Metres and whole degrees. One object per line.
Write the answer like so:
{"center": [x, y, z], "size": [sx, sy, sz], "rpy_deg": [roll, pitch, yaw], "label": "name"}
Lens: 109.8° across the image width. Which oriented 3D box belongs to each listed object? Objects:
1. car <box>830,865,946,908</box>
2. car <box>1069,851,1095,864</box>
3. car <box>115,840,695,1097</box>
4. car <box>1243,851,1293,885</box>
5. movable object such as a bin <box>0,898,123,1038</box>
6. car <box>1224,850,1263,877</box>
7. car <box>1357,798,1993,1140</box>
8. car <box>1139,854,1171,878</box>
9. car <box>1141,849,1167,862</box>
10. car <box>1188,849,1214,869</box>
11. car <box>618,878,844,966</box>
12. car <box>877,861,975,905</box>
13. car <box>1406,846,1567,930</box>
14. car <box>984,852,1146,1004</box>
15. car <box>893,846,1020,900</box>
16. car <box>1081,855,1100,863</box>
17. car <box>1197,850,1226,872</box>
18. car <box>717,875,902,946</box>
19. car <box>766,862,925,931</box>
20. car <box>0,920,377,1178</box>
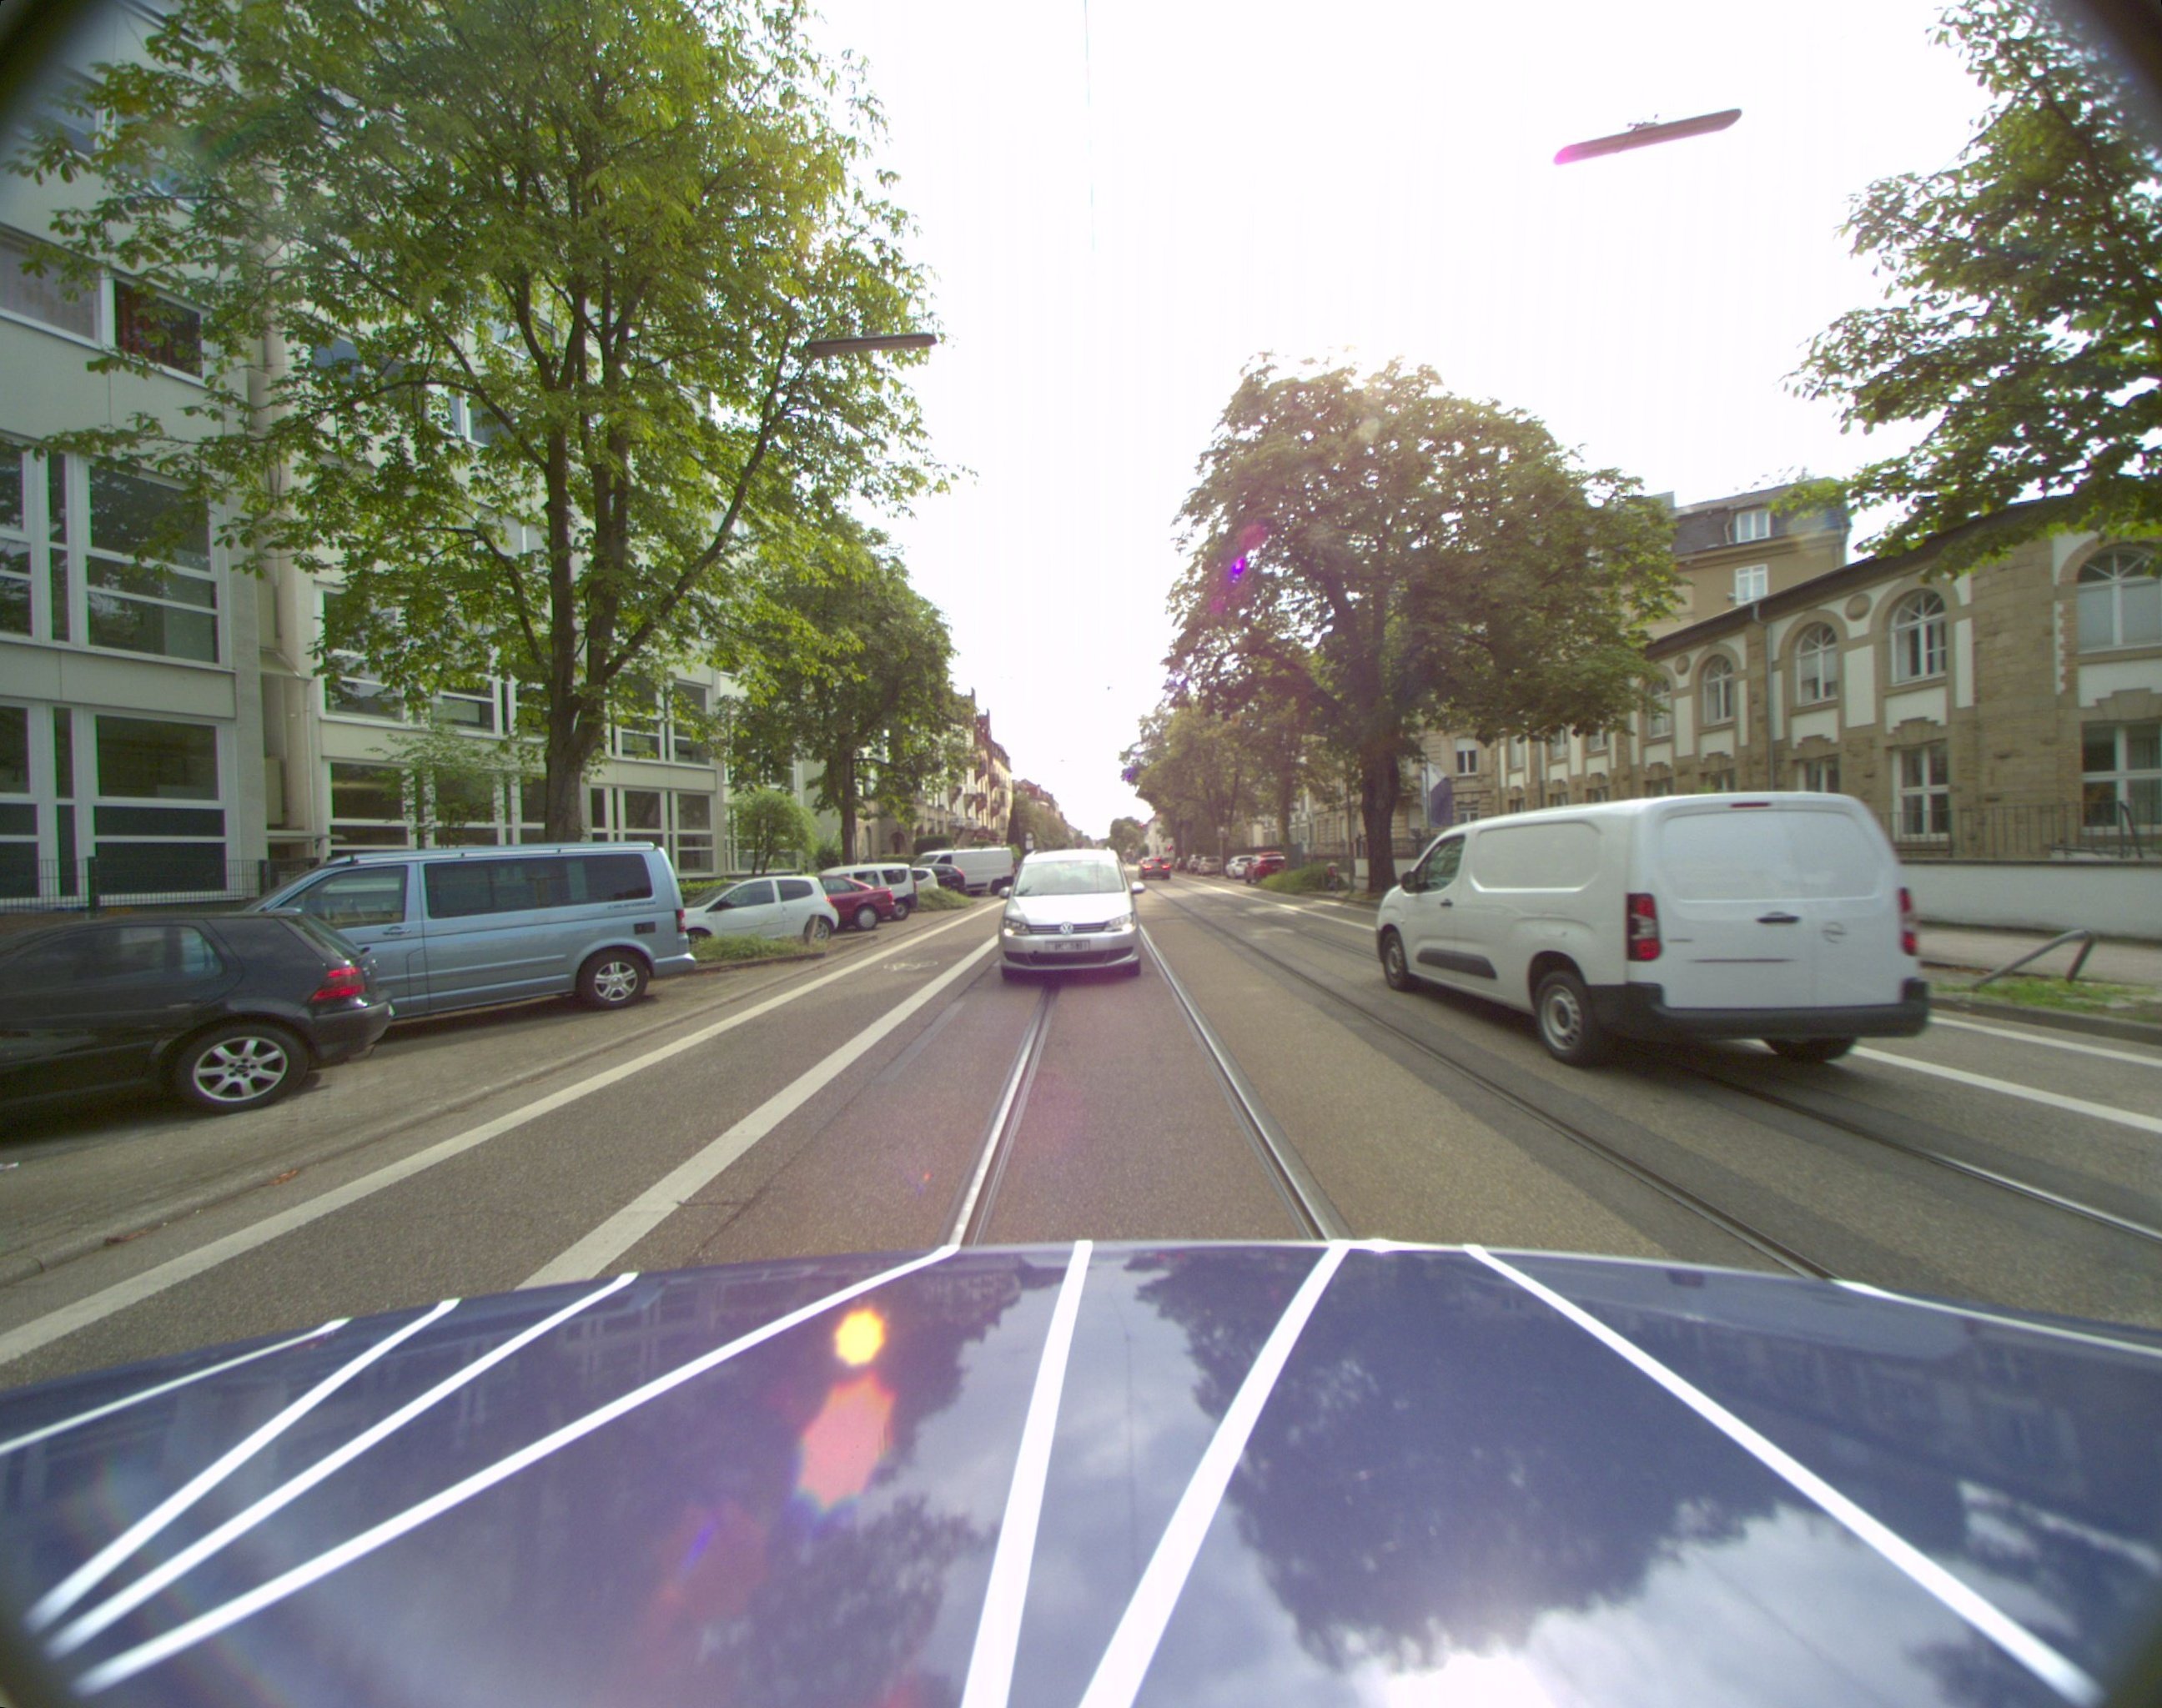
{"center": [-6.979, 1.140, 27.671], "size": [3.652, 1.322, 1.763], "rpy_deg": [-3, 1, -44], "label": "car"}
{"center": [0.157, 0.626, 125.004], "size": [3.994, 2.002, 2.001], "rpy_deg": [-2, 0, 10], "label": "car"}
{"center": [-6.994, 0.933, 8.448], "size": [4.354, 2.052, 1.994], "rpy_deg": [-2, 0, -45], "label": "car"}
{"center": [9.748, 0.690, 39.938], "size": [1.659, 1.624, 3.906], "rpy_deg": [-2, 0, 1], "label": "car"}
{"center": [-12.268, 1.279, 8.485], "size": [1.334, 1.450, 1.400], "rpy_deg": [-2, 0, 5], "label": "movable object such as a bin"}
{"center": [10.348, 0.584, 48.697], "size": [1.659, 1.592, 3.906], "rpy_deg": [-2, 0, 1], "label": "car"}
{"center": [4.114, 0.634, 6.515], "size": [1.799, 1.813, 4.678], "rpy_deg": [-2, 0, 1], "label": "car"}
{"center": [4.906, 0.783, 50.865], "size": [1.786, 1.506, 4.144], "rpy_deg": [-2, 0, 1], "label": "car"}
{"center": [11.753, 0.198, 121.969], "size": [3.994, 2.002, 2.002], "rpy_deg": [-2, 0, 11], "label": "car"}
{"center": [10.445, 0.423, 66.549], "size": [1.659, 1.624, 3.906], "rpy_deg": [-2, 0, 1], "label": "car"}
{"center": [-6.857, 1.241, 15.087], "size": [3.652, 1.322, 1.763], "rpy_deg": [-3, 1, -44], "label": "car"}
{"center": [-6.486, 1.170, 31.804], "size": [3.649, 1.580, 1.764], "rpy_deg": [-2, 1, -25], "label": "car"}
{"center": [8.977, 0.688, 17.204], "size": [1.659, 1.624, 3.725], "rpy_deg": [-2, 0, 1], "label": "car"}
{"center": [-0.154, 0.858, 11.120], "size": [1.816, 1.691, 4.617], "rpy_deg": [-2, 0, 1], "label": "car"}
{"center": [-5.728, 0.823, 35.484], "size": [5.449, 2.163, 2.142], "rpy_deg": [-2, 1, -40], "label": "car"}
{"center": [2.271, 1.120, 174.745], "size": [3.993, 1.797, 2.002], "rpy_deg": [-2, 1, 13], "label": "car"}
{"center": [10.135, 0.516, 59.238], "size": [1.659, 1.624, 3.906], "rpy_deg": [-2, 0, 1], "label": "car"}
{"center": [-6.513, 1.281, 18.386], "size": [3.777, 1.331, 1.809], "rpy_deg": [-2, 1, -40], "label": "car"}
{"center": [-6.550, 1.110, 21.304], "size": [3.777, 1.609, 1.809], "rpy_deg": [-2, 1, -40], "label": "car"}
{"center": [-7.411, 1.318, 5.001], "size": [3.980, 1.379, 1.810], "rpy_deg": [-3, -1, -44], "label": "car"}
